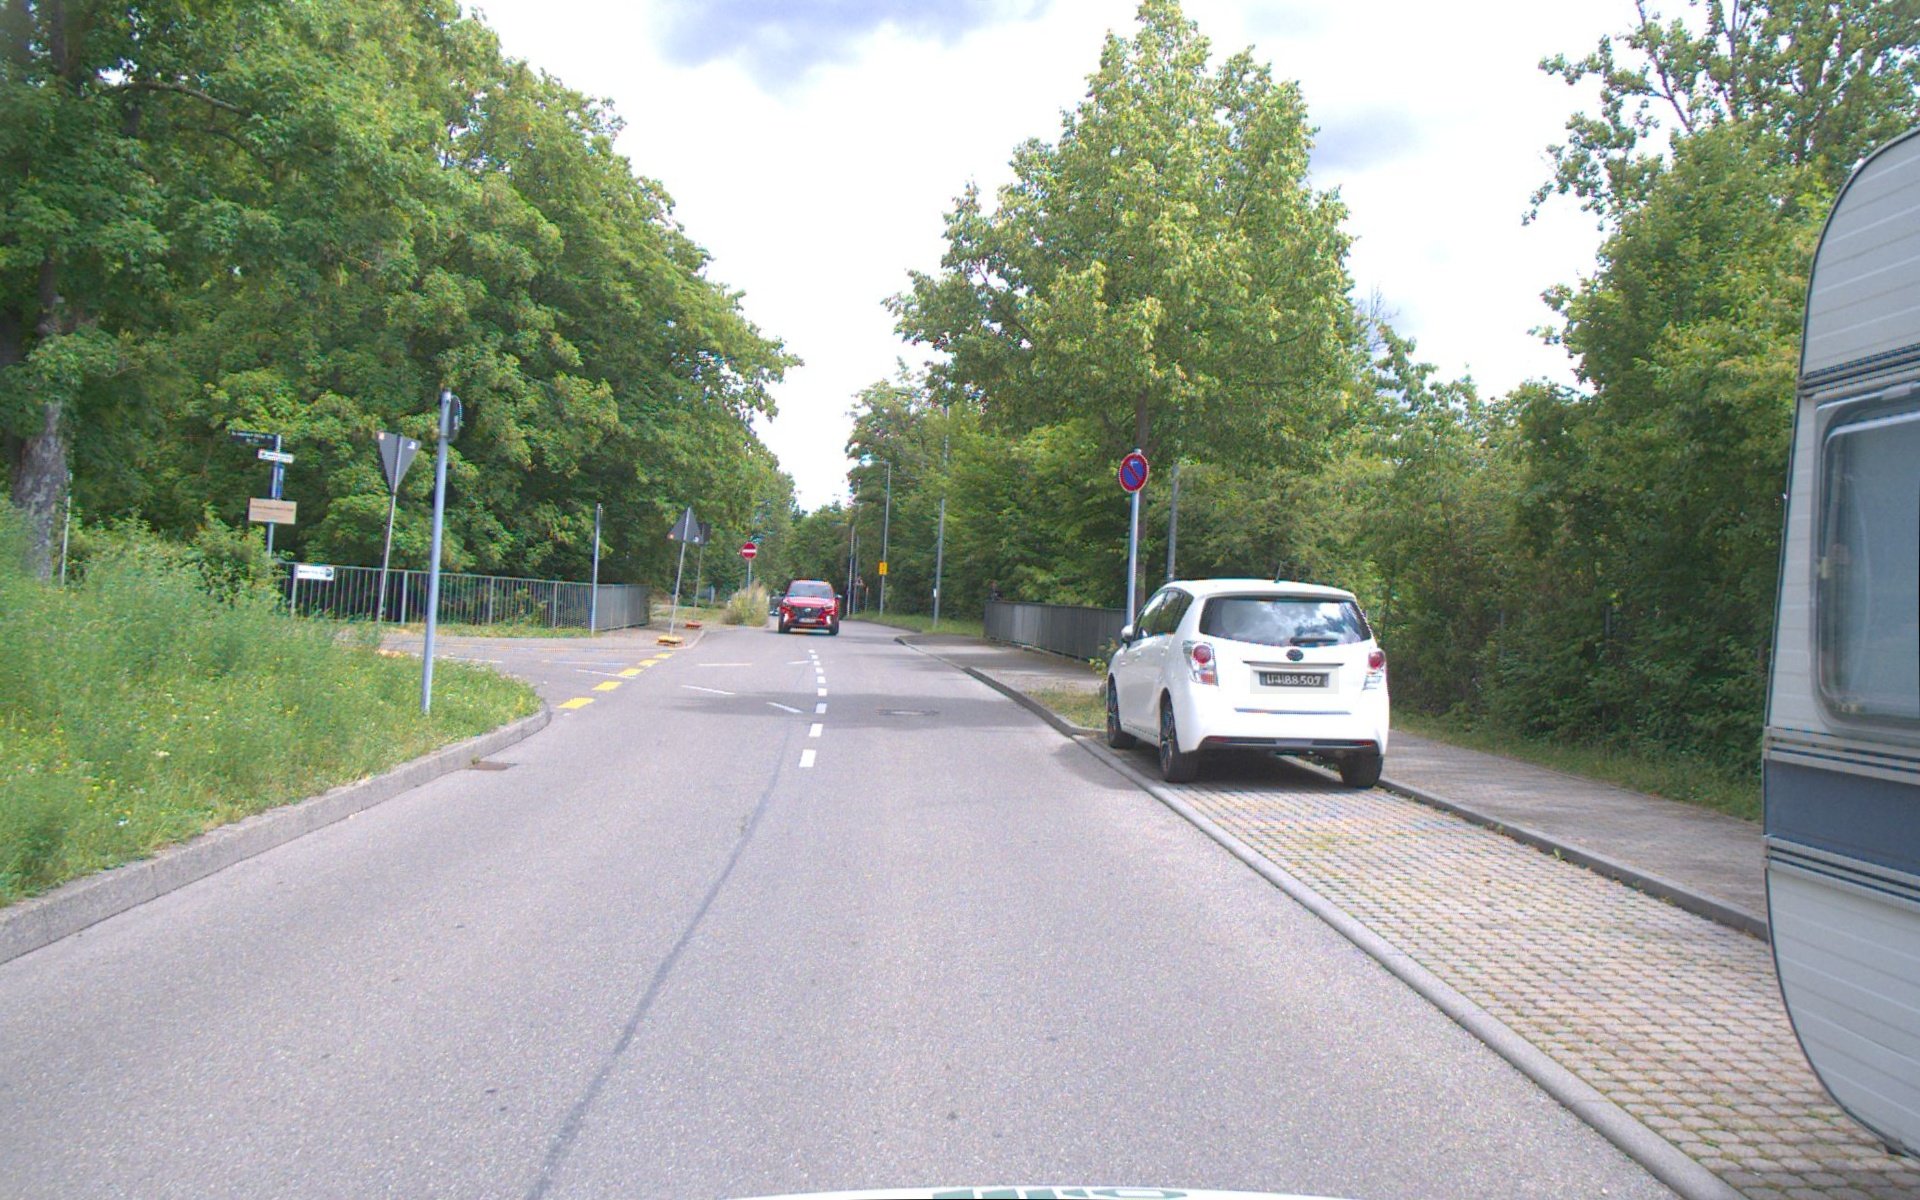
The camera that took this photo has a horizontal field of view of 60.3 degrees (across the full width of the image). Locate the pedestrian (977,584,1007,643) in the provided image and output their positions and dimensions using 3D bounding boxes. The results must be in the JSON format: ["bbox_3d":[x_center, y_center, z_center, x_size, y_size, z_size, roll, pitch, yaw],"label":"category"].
[{"bbox_3d":[1.013,0.422,51.669,0.584,1.814,0.672,4,-3,-42],"label":"pedestrian"}]

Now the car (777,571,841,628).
[{"bbox_3d":[-4.794,-0.021,52.880,1.806,1.687,4.219,2,0,-3],"label":"car"}]

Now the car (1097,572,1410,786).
[{"bbox_3d":[2.444,0.599,14.888,1.769,1.628,4.368,1,0,-4],"label":"car"}]

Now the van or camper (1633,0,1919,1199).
[{"bbox_3d":[2.958,0.168,1.709,2.307,2.598,5.072,1,0,-2],"label":"van or camper"}]
